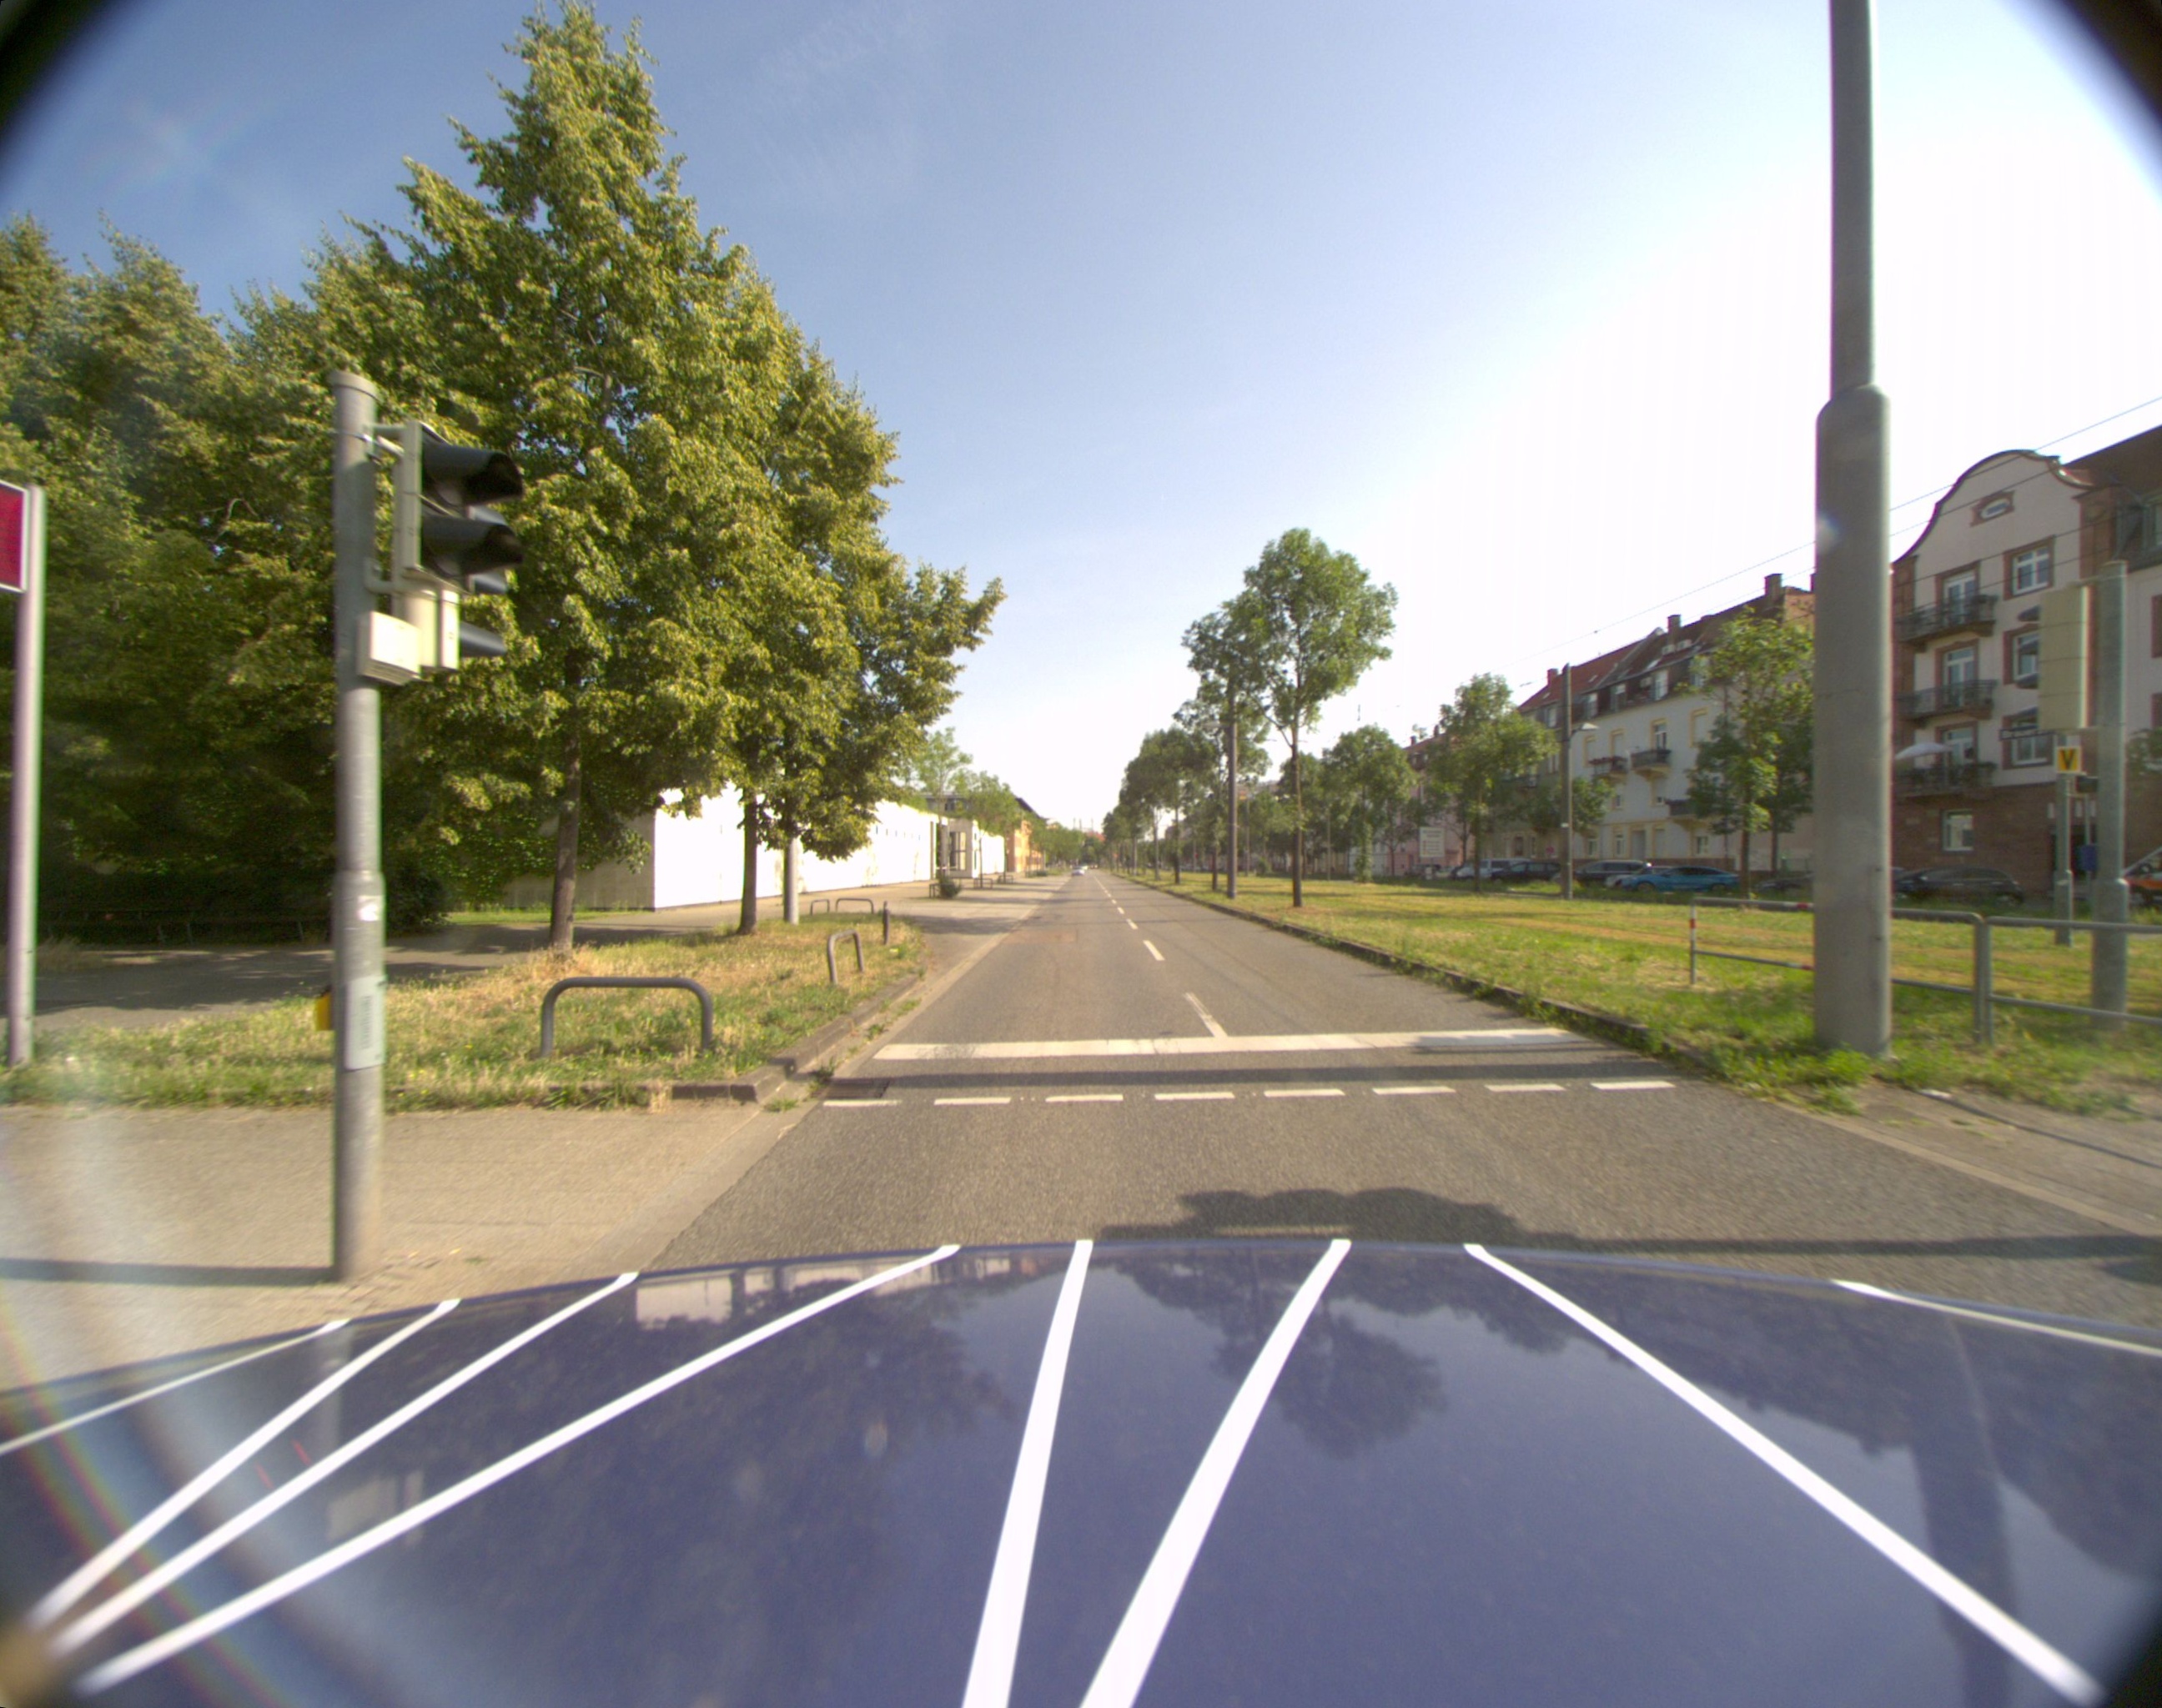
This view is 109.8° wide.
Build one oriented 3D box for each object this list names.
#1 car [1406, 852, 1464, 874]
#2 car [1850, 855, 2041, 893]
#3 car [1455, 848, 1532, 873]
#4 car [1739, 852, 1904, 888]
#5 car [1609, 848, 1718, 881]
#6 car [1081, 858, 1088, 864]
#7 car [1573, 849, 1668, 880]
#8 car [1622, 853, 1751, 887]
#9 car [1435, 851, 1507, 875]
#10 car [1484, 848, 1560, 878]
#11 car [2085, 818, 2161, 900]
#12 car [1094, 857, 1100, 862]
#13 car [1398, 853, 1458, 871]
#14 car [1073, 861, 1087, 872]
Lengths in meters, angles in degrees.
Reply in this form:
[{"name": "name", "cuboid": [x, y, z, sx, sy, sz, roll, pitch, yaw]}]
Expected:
[{"name": "car", "cuboid": [28.391, 0.699, 60.969, 4.138, 1.648, 2.003, -1, 1, 24]}, {"name": "car", "cuboid": [28.564, 0.670, 25.292, 3.840, 1.121, 1.772, -1, 1, 32]}, {"name": "car", "cuboid": [27.977, 0.453, 51.586, 4.490, 1.596, 2.003, -1, 1, 29]}, {"name": "car", "cuboid": [29.080, 0.633, 30.052, 4.332, 1.318, 2.004, -1, 1, 32]}, {"name": "car", "cuboid": [28.890, 0.527, 37.869, 4.181, 1.494, 1.945, -1, 1, 33]}, {"name": "car", "cuboid": [0.989, 1.994, 218.348, 1.998, 1.652, 4.000, 0, 0, 0]}, {"name": "car", "cuboid": [28.908, 0.555, 40.881, 4.053, 1.545, 1.919, -1, 1, 31]}, {"name": "car", "cuboid": [28.015, 0.755, 35.383, 4.503, 1.432, 2.004, -1, 1, 32]}, {"name": "car", "cuboid": [28.106, 0.660, 54.741, 4.490, 1.550, 2.003, -1, 1, 29]}, {"name": "car", "cuboid": [27.274, 0.557, 47.099, 3.989, 1.696, 1.878, -1, 1, 29]}, {"name": "car", "cuboid": [34.986, 0.140, 22.294, 2.354, 2.549, 6.506, -2, 1, -1]}, {"name": "car", "cuboid": [5.102, 1.722, 243.093, 1.998, 1.652, 4.000, 0, 0, 0]}, {"name": "car", "cuboid": [29.999, 0.691, 65.677, 4.490, 1.482, 2.003, -1, 1, 29]}, {"name": "car", "cuboid": [-0.162, 1.860, 115.269, 1.998, 1.652, 4.000, 0, 0, 0]}]
